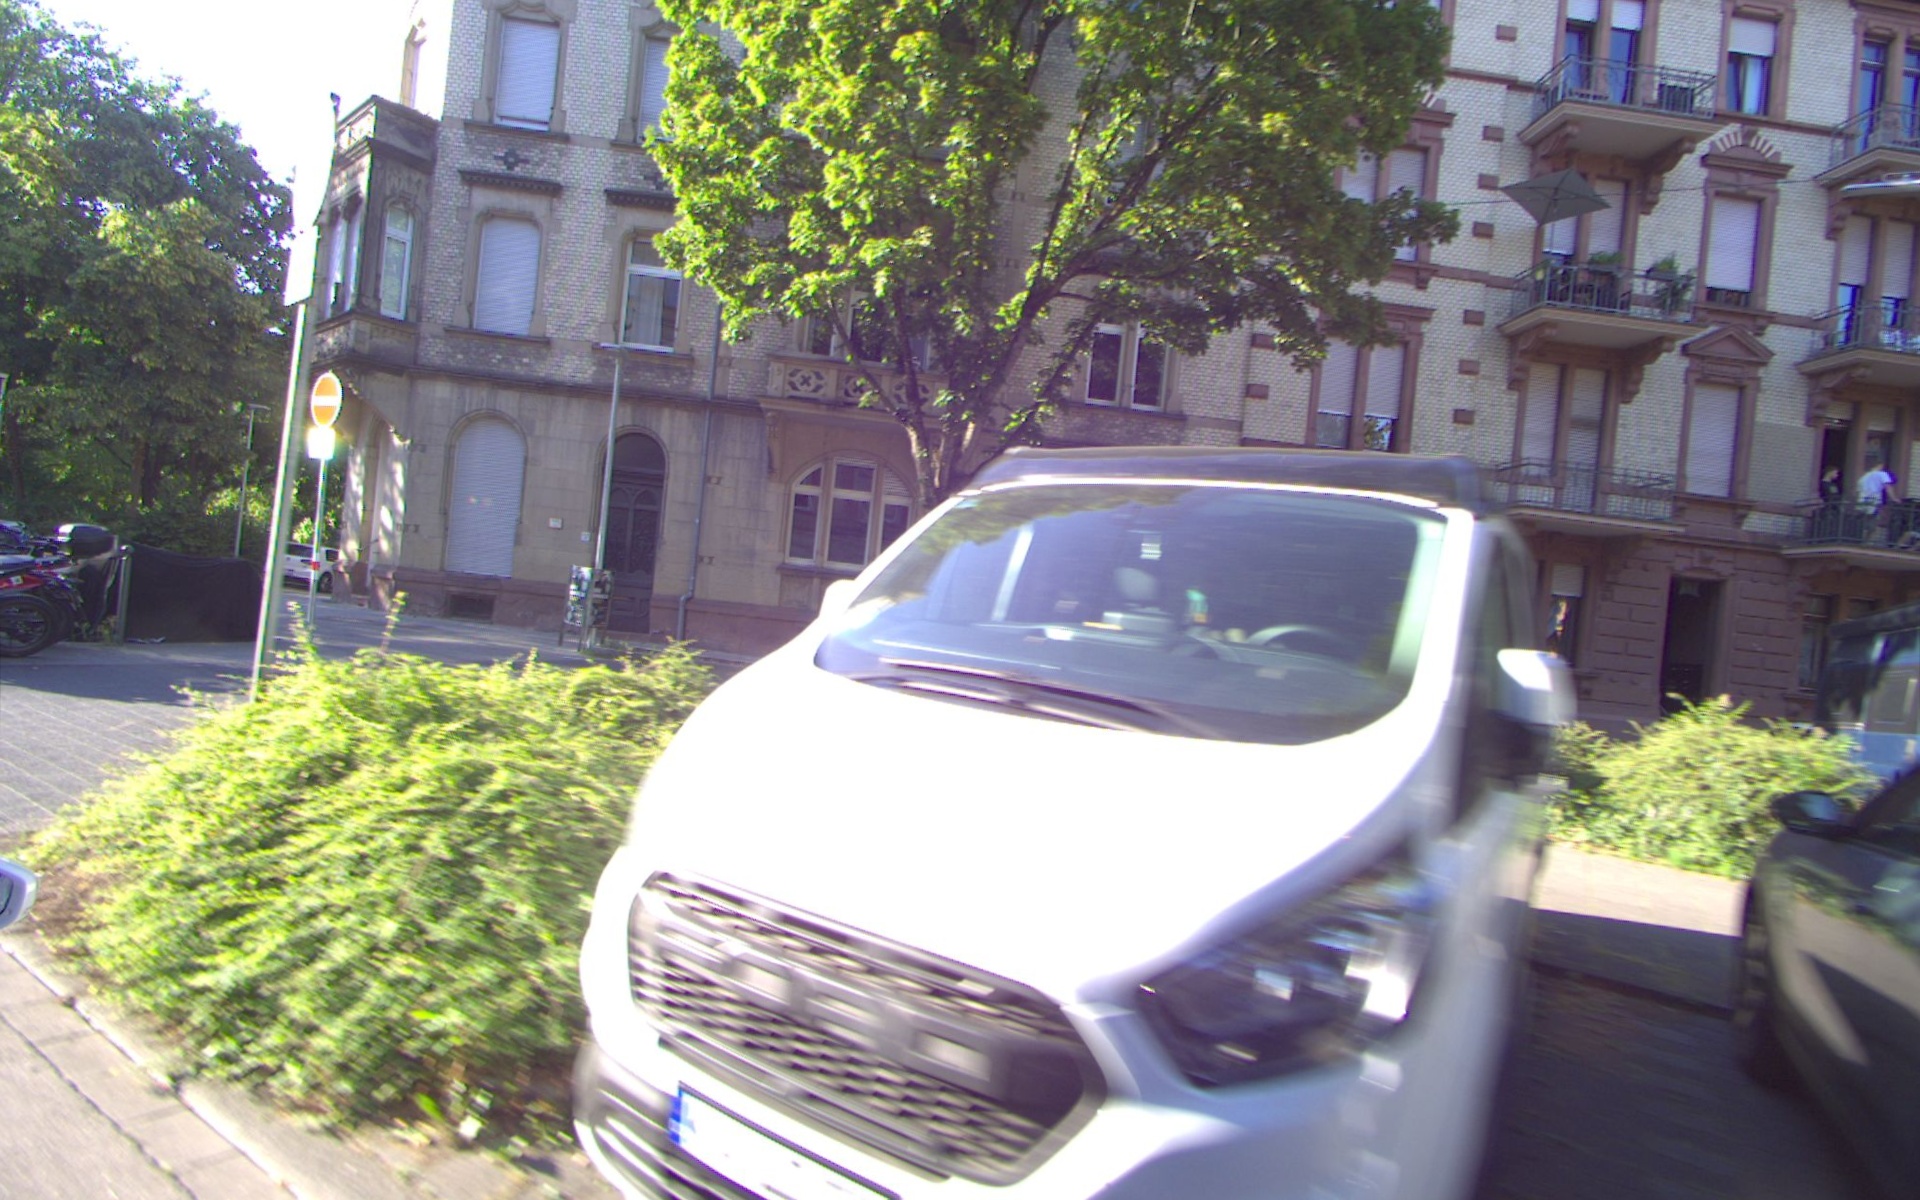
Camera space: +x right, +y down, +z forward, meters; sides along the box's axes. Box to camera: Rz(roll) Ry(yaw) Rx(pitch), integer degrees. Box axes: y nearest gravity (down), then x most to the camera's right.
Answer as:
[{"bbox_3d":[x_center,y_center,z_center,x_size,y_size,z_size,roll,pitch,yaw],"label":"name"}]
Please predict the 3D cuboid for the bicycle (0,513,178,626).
[{"bbox_3d":[-11.285,-0.359,12.865,0.471,1.261,1.929,7,-1,26],"label":"bicycle"}]

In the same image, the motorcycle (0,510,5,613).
[{"bbox_3d":[-10.663,-0.338,9.618,0.889,1.302,2.024,6,2,30],"label":"motorcycle"}]

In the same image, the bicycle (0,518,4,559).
[{"bbox_3d":[-11.654,-0.396,10.735,0.637,1.261,1.929,6,-1,26],"label":"bicycle"}]

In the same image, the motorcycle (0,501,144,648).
[{"bbox_3d":[-9.397,-0.273,9.832,0.683,1.379,2.024,7,1,32],"label":"motorcycle"}]

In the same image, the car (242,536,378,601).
[{"bbox_3d":[-21.086,-0.960,32.864,1.849,1.427,4.004,10,-4,-4],"label":"car"}]

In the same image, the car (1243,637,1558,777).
[{"bbox_3d":[6.938,1.666,16.125,4.142,1.630,1.780,7,0,-4],"label":"car"}]

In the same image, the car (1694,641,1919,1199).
[{"bbox_3d":[3.128,1.033,2.445,1.712,1.615,3.845,6,0,32],"label":"car"}]

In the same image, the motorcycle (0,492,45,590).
[{"bbox_3d":[-16.158,-1.051,15.906,0.742,1.550,2.288,6,-1,26],"label":"motorcycle"}]

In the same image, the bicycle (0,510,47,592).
[{"bbox_3d":[-15.608,-0.849,15.688,0.444,1.261,1.929,7,-1,26],"label":"bicycle"}]

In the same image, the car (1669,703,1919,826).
[{"bbox_3d":[14.700,2.802,16.960,4.169,1.493,1.866,7,0,-6],"label":"car"}]

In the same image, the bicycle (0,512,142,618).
[{"bbox_3d":[-12.181,-0.461,13.364,0.471,1.261,1.929,7,-1,26],"label":"bicycle"}]

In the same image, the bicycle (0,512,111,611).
[{"bbox_3d":[-13.062,-0.561,13.889,0.471,1.261,1.929,7,-1,26],"label":"bicycle"}]

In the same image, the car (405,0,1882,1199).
[{"bbox_3d":[1.137,0.577,3.587,2.071,2.121,4.979,6,0,32],"label":"car"}]

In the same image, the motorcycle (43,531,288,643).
[{"bbox_3d":[-9.236,-0.117,11.791,0.889,1.122,2.025,6,1,30],"label":"motorcycle"}]

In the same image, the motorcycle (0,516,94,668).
[{"bbox_3d":[-8.996,-0.120,8.769,0.610,1.343,2.019,7,0,28],"label":"motorcycle"}]

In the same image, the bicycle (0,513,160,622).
[{"bbox_3d":[-11.729,-0.409,13.116,0.471,1.261,1.929,7,-1,26],"label":"bicycle"}]

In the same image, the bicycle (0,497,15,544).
[{"bbox_3d":[-28.233,-2.380,28.644,2.107,1.302,1.026,7,1,20],"label":"bicycle"}]

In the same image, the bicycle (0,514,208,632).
[{"bbox_3d":[-10.744,-0.296,12.629,0.637,1.261,1.929,6,-1,26],"label":"bicycle"}]

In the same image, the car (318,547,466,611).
[{"bbox_3d":[-15.727,-0.518,28.153,1.963,1.393,4.367,3,-3,-6],"label":"car"}]

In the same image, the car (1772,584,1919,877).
[{"bbox_3d":[9.924,1.288,9.222,2.338,2.568,5.909,6,-1,26],"label":"car"}]

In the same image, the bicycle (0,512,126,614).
[{"bbox_3d":[-12.607,-0.509,13.634,0.388,1.261,1.929,7,-1,26],"label":"bicycle"}]

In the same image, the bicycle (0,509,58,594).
[{"bbox_3d":[-15.190,-0.809,15.410,0.471,1.261,1.929,7,-1,26],"label":"bicycle"}]
